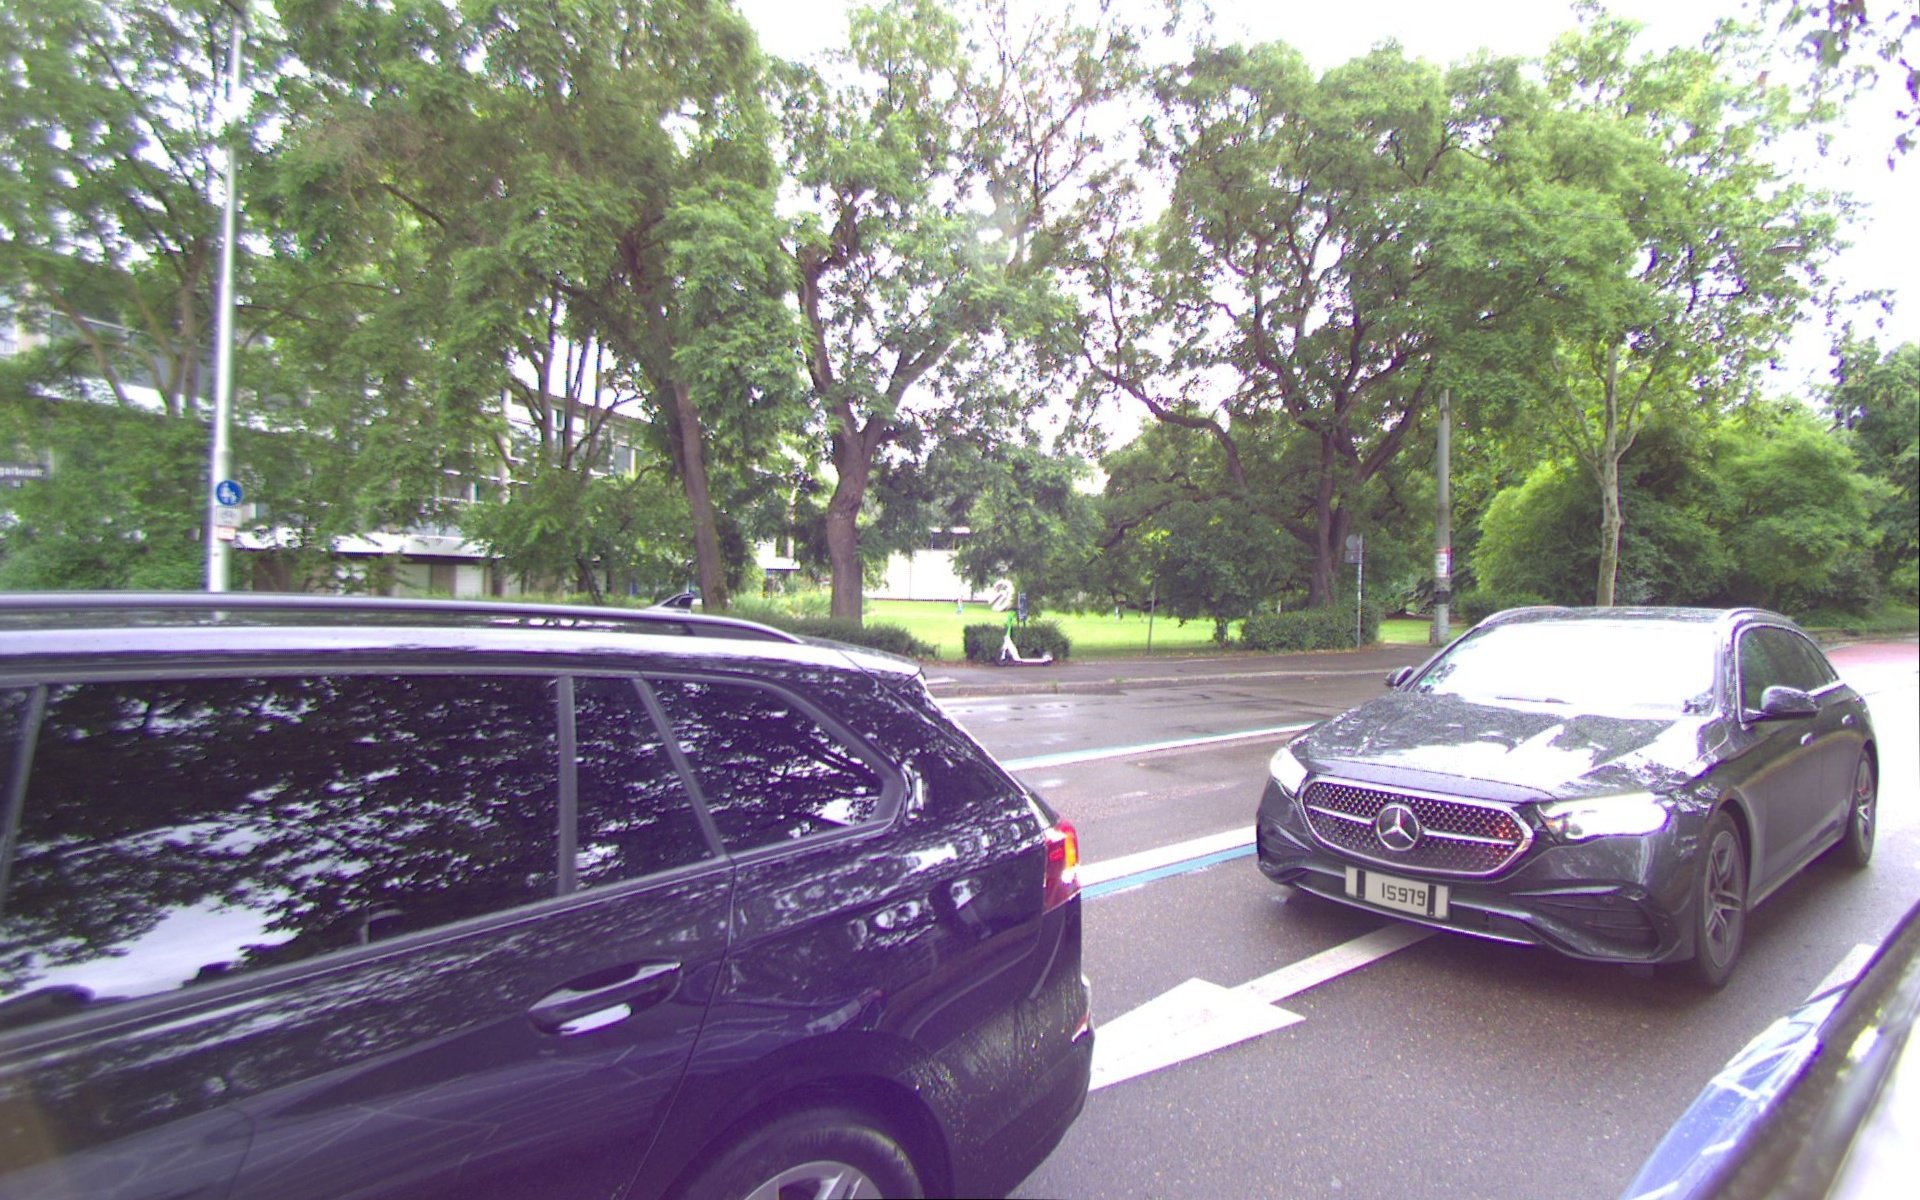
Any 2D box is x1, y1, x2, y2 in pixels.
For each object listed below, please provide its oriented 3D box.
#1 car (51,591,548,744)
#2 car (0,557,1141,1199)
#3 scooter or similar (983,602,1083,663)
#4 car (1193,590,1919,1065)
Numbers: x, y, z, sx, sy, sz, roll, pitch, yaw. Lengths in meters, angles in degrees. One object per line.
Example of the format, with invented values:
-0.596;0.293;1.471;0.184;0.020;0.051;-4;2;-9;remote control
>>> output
-6.989;0.660;11.315;4.311;1.468;1.872;1;0;-19;car
-1.789;0.683;1.385;4.435;1.484;1.672;1;0;-43;car
1.445;0.643;19.976;1.851;1.114;0.559;2;2;-19;scooter or similar
3.499;0.711;5.428;4.843;1.464;1.883;0;-1;-40;car
